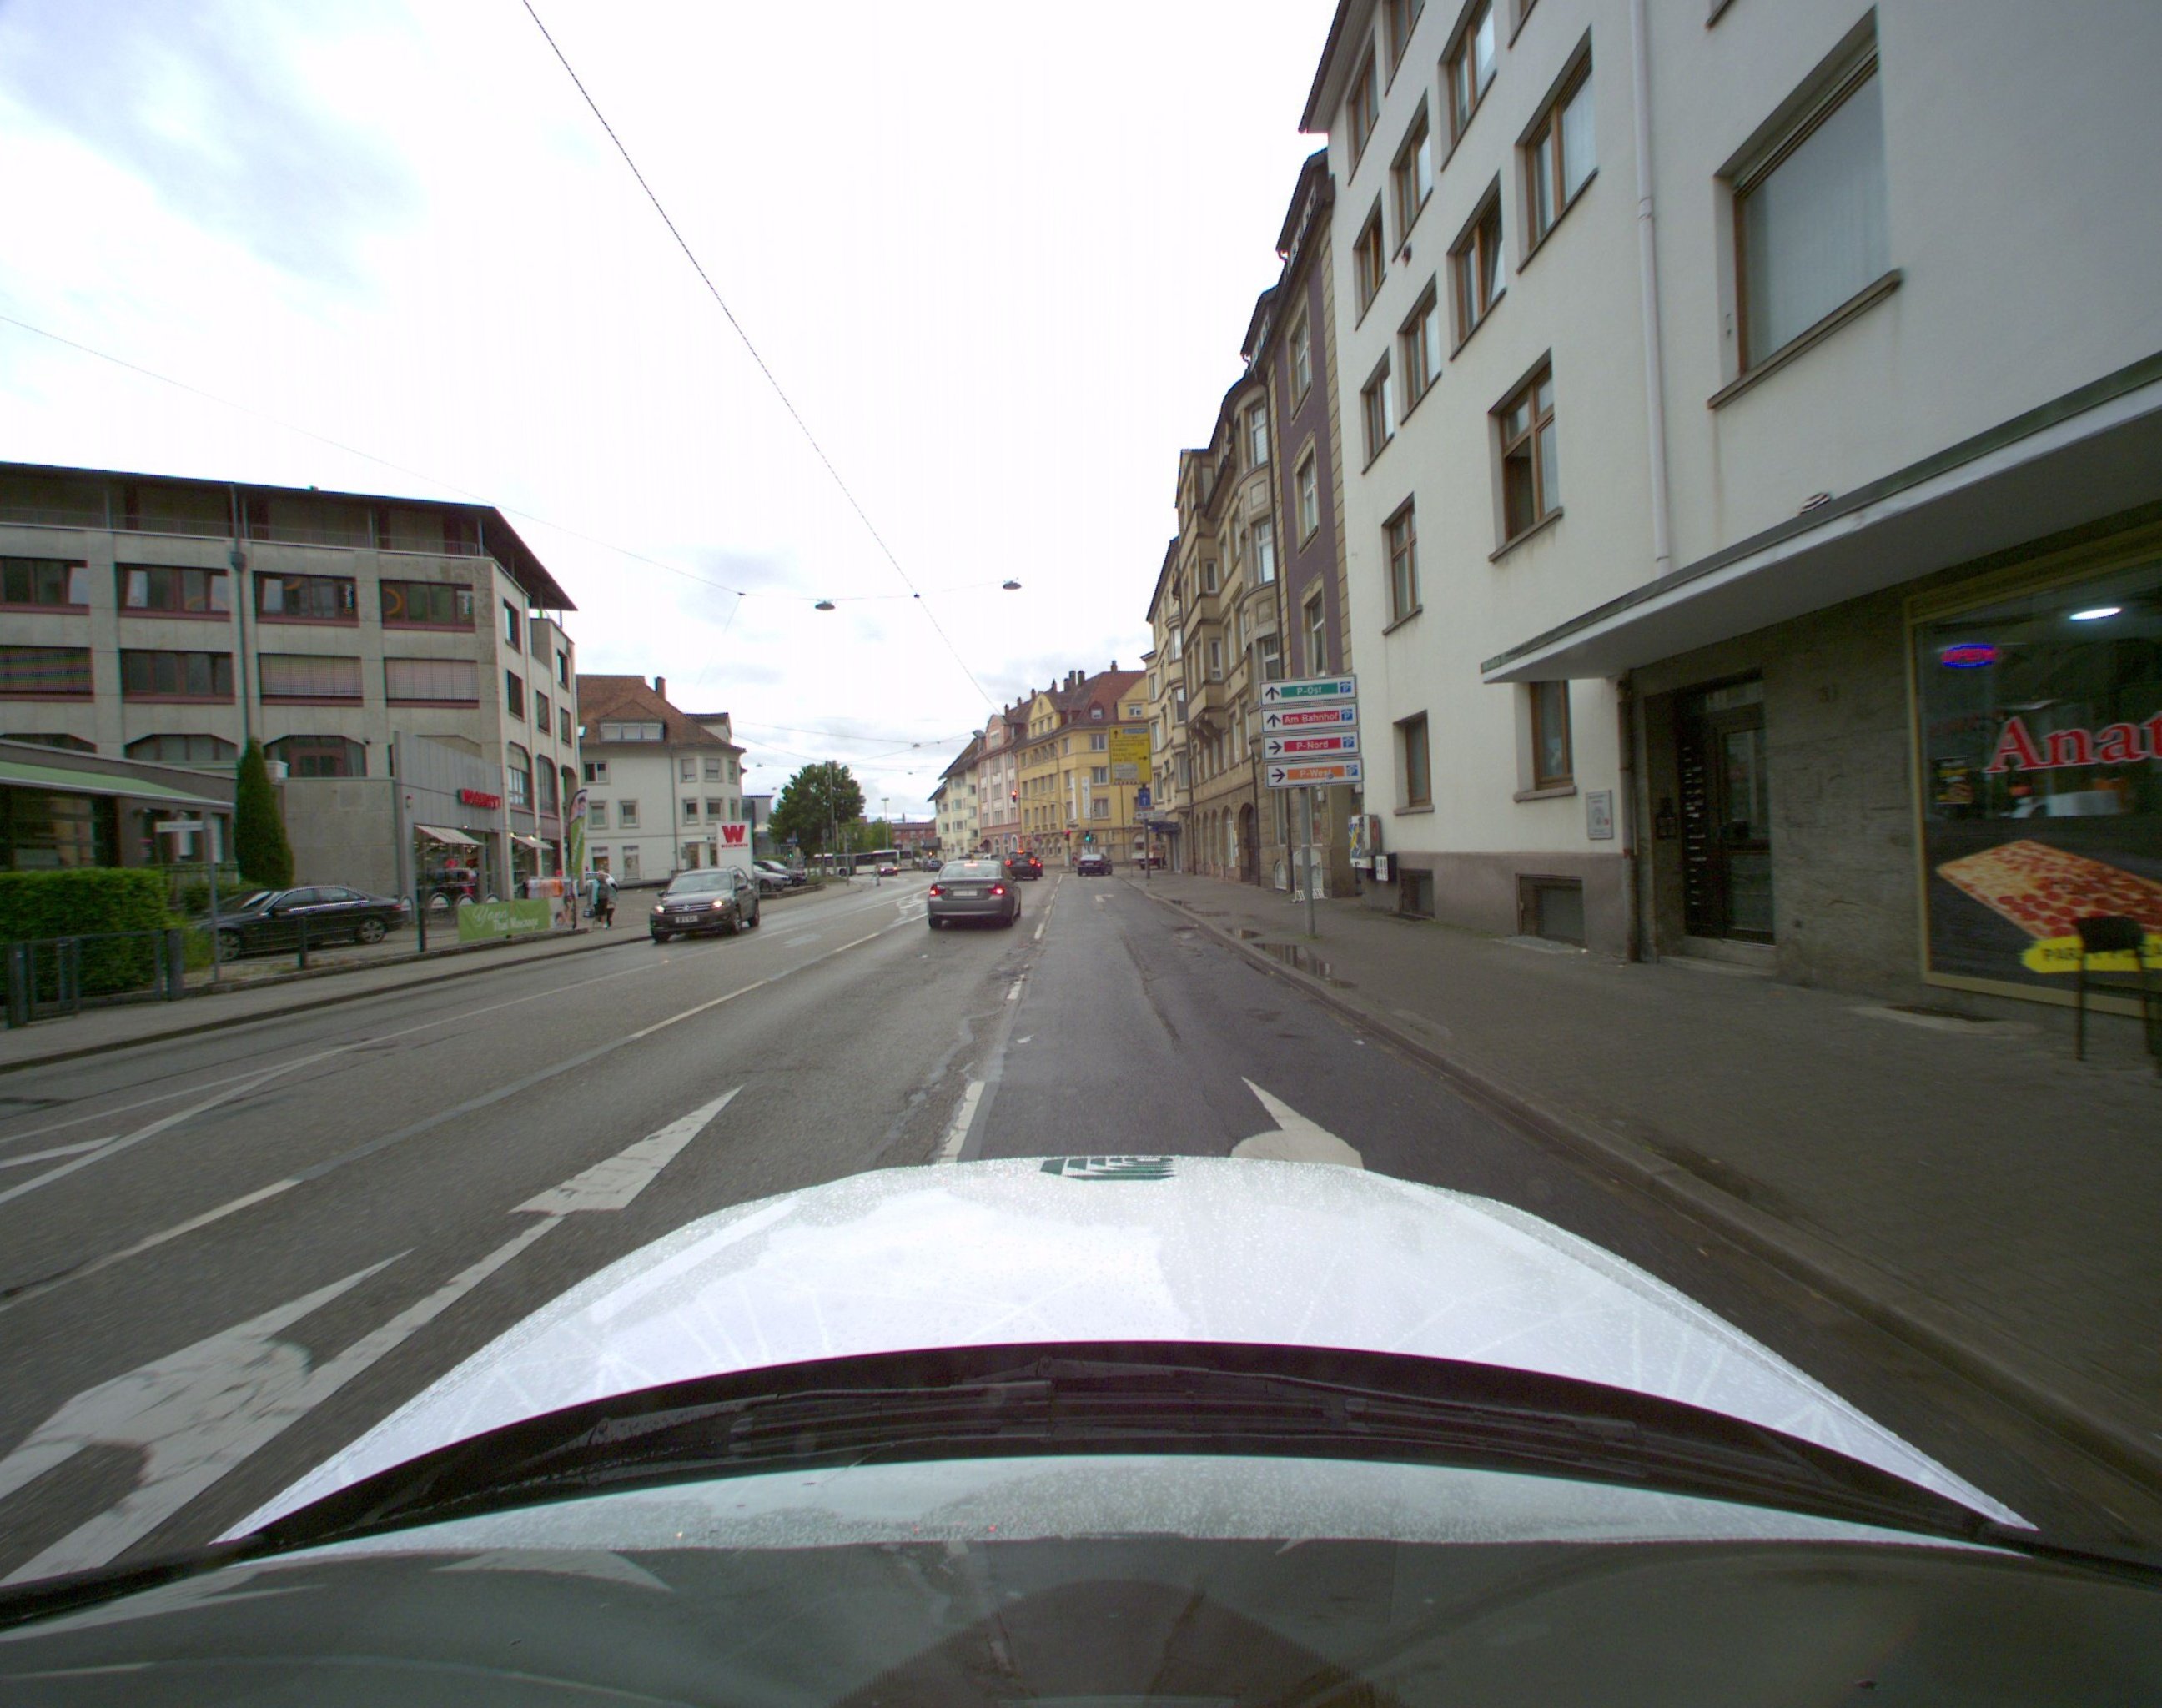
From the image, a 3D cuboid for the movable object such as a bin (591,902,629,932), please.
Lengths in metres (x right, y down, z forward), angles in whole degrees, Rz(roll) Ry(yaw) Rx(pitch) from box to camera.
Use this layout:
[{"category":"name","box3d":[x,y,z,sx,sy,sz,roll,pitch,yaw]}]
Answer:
[{"category":"movable object such as a bin","box3d":[-13.775,1.833,23.820,0.745,0.789,0.738,-3,0,44]}]

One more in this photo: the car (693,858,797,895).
[{"category":"car","box3d":[-16.946,1.111,41.294,4.440,1.526,1.882,-3,0,-7]}]

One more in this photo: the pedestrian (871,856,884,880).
[{"category":"pedestrian","box3d":[-13.348,0.940,53.485,0.763,1.529,0.505,-1,-1,-22]}]

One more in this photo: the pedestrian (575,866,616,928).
[{"category":"pedestrian","box3d":[-13.813,1.221,23.173,0.745,1.685,0.752,-3,1,44]}]

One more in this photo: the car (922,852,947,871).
[{"category":"car","box3d":[-16.940,0.832,94.205,2.002,2.013,3.970,-3,0,-22]}]

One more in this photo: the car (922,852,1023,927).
[{"category":"car","box3d":[-2.271,0.688,18.116,1.794,1.464,4.367,0,0,-2]}]

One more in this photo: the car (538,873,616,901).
[{"category":"car","box3d":[-29.163,1.890,47.221,1.566,1.500,3.774,-3,-2,14]}]

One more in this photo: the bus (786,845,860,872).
[{"category":"bus","box3d":[-34.019,0.583,107.405,8.784,3.105,2.928,-3,1,11]}]

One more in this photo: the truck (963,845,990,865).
[{"category":"truck","box3d":[-12.859,0.110,99.901,2.037,2.389,4.200,-2,1,-26]}]

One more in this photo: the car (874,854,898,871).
[{"category":"car","box3d":[-20.204,0.862,84.300,1.852,1.684,3.970,-2,0,-22]}]

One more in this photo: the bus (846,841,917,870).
[{"category":"bus","box3d":[-25.643,0.183,104.441,9.026,3.105,2.937,-3,1,29]}]

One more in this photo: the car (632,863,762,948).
[{"category":"car","box3d":[-9.050,1.120,19.569,1.951,1.659,4.038,-3,0,-14]}]

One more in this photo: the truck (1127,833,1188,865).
[{"category":"truck","box3d":[5.911,-0.424,62.330,2.203,2.249,5.095,-2,1,38]}]

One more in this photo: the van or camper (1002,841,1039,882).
[{"category":"van or camper","box3d":[-3.394,0.392,45.763,1.851,2.146,4.137,-3,0,-4]}]

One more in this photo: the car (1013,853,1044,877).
[{"category":"car","box3d":[-3.389,0.700,52.557,1.799,1.405,4.677,-2,0,-4]}]

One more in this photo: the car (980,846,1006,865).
[{"category":"car","box3d":[-10.305,0.209,94.924,1.771,2.180,3.965,0,0,-26]}]

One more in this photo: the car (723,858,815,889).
[{"category":"car","box3d":[-17.783,1.111,46.533,4.394,1.506,1.958,-3,0,7]}]

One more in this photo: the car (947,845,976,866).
[{"category":"car","box3d":[-12.207,0.147,83.045,2.002,2.013,3.970,-3,0,-22]}]

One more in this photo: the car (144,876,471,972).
[{"category":"car","box3d":[-15.631,1.332,16.933,1.983,1.438,4.661,-3,0,7]}]

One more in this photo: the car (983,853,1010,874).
[{"category":"car","box3d":[-8.204,0.905,78.746,1.996,1.816,3.981,-3,0,-14]}]

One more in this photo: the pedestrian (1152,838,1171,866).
[{"category":"pedestrian","box3d":[5.652,-0.173,56.983,1.049,1.903,1.029,-3,0,14]}]

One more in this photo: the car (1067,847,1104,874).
[{"category":"car","box3d":[0.233,0.408,51.298,1.798,1.563,3.989,-3,0,-8]}]
